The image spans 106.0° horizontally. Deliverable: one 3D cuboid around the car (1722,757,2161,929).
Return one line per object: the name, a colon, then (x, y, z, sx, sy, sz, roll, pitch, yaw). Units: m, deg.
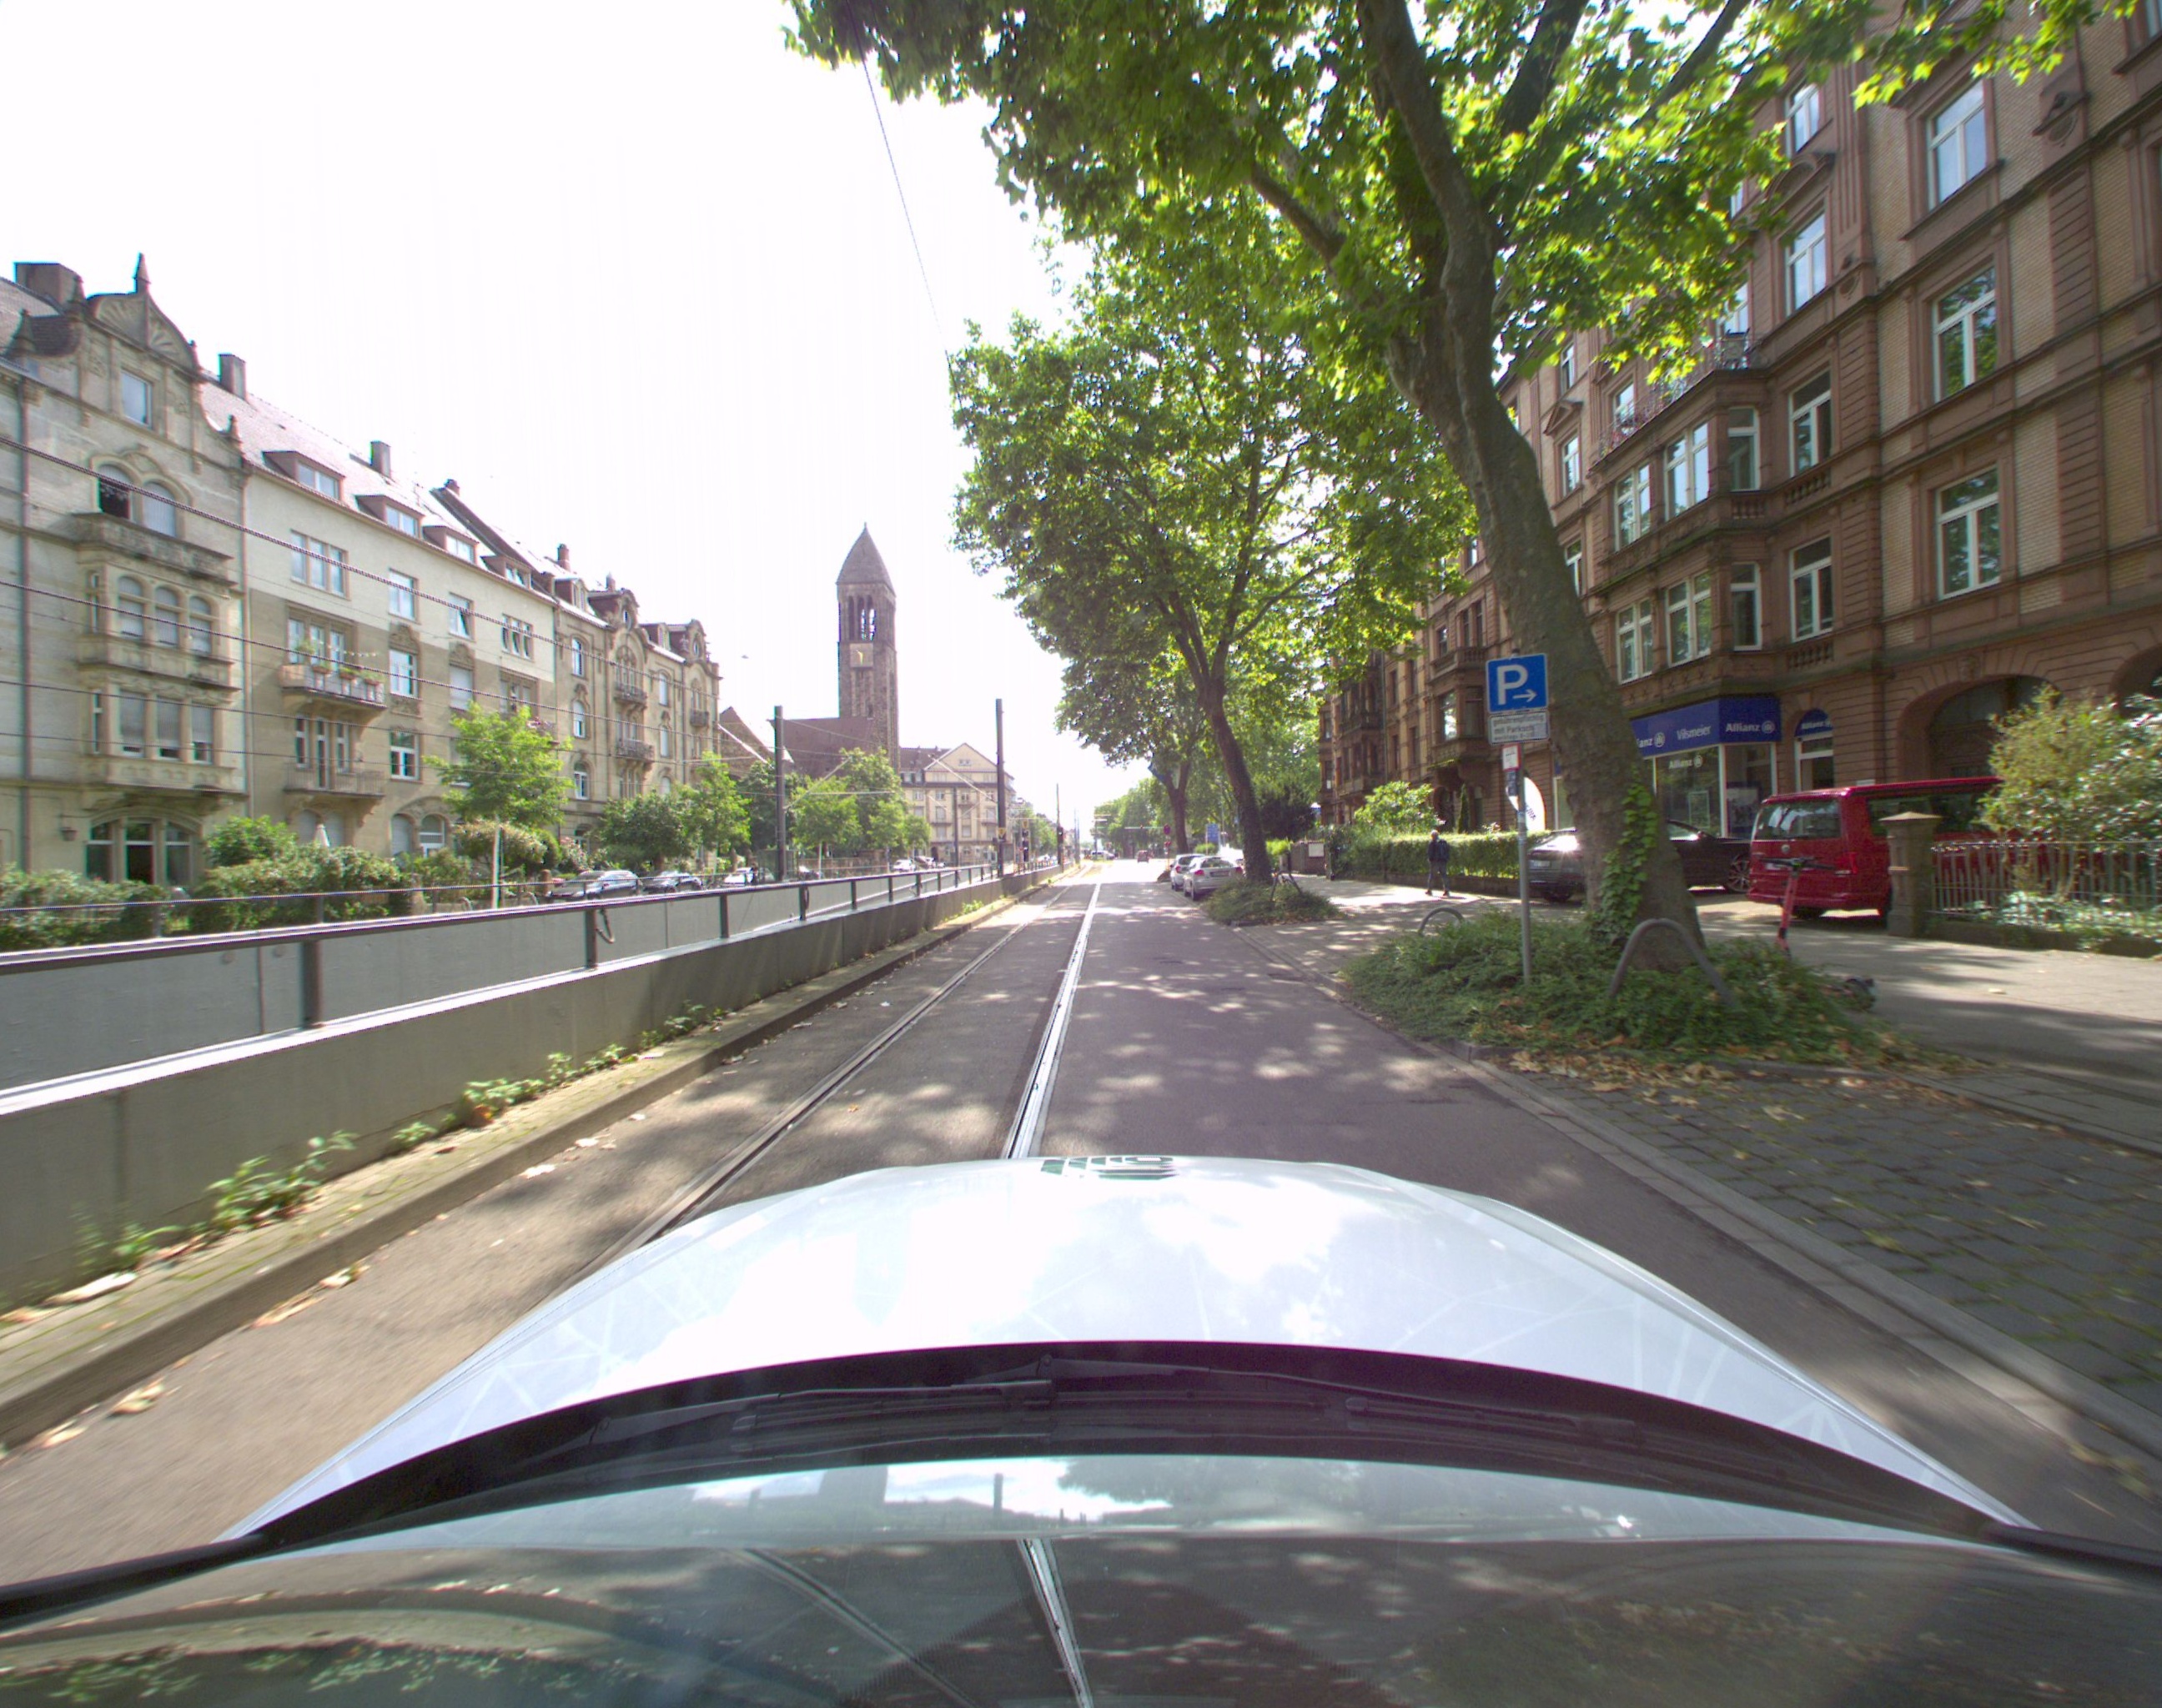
car: (12.352, -0.152, 11.822, 4.380, 1.939, 1.984, -5, 0, 2)

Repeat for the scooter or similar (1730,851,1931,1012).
scooter or similar: (6.227, 0.586, 6.858, 0.465, 1.211, 1.324, -2, 0, 2)

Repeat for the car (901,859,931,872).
car: (-23.617, 1.627, 116.647, 3.858, 1.748, 1.894, -2, 0, -1)

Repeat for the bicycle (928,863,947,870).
bicycle: (-26.832, 2.323, 152.299, 3.283, 1.253, 1.003, -2, 0, 18)

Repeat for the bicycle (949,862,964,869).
bicycle: (-23.387, 2.166, 153.086, 2.571, 1.053, 0.676, -2, 0, -26)

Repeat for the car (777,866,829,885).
car: (-24.763, 1.899, 72.645, 3.947, 1.464, 1.724, -2, 0, 2)

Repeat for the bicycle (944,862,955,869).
bicycle: (-24.457, 2.166, 151.700, 1.985, 1.114, 0.482, -2, 0, -35)

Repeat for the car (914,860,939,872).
car: (-22.715, 1.764, 119.905, 3.254, 1.502, 1.854, -2, 0, 0)

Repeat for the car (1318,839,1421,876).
car: (13.788, 0.174, 39.116, 4.218, 1.469, 1.943, -3, -1, 2)

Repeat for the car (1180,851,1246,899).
car: (4.382, 0.676, 27.533, 1.671, 1.444, 3.860, -2, -1, 2)

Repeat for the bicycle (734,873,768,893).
bicycle: (-17.618, 1.535, 43.509, 0.773, 0.979, 2.142, -4, 0, 3)

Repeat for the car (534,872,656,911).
car: (-19.692, 1.480, 33.311, 1.941, 1.327, 4.729, -2, 0, 3)

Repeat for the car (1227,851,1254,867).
car: (14.599, 0.440, 74.886, 1.799, 1.455, 4.003, -1, 0, 2)

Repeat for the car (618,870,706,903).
car: (-19.603, 1.506, 38.325, 2.013, 1.327, 4.100, -2, 0, 0)

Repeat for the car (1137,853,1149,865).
car: (9.369, 0.723, 123.664, 1.743, 1.809, 3.477, 0, 0, 2)

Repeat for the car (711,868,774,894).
car: (-19.470, 1.538, 47.019, 1.746, 1.328, 4.312, -2, 0, 0)

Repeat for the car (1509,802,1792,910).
car: (11.990, 0.032, 17.317, 4.715, 1.782, 2.001, -5, 0, -6)

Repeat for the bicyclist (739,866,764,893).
bicyclist: (-17.623, 1.348, 43.567, 0.764, 1.337, 1.049, -4, 0, 2)

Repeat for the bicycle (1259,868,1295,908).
bicycle: (5.377, 0.910, 22.388, 0.578, 1.020, 1.322, -2, 0, -3)

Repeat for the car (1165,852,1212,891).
car: (4.493, 0.720, 34.513, 1.548, 1.485, 3.860, -2, -1, 2)

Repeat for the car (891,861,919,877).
car: (-18.274, 1.570, 84.673, 1.924, 1.504, 4.414, -2, 0, 0)

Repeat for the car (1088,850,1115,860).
car: (4.018, 0.139, 160.204, 4.691, 1.860, 2.012, -2, 0, 26)

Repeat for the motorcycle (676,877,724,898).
motorcycle: (-19.600, 1.723, 41.925, 1.754, 0.941, 1.418, -4, 0, 0)

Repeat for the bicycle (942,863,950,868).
bicycle: (-25.604, 2.192, 153.937, 0.744, 1.053, 2.543, -2, 0, -27)

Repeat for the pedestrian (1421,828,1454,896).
pedestrian: (9.537, 0.213, 21.823, 0.562, 1.786, 0.630, -2, 0, 2)
